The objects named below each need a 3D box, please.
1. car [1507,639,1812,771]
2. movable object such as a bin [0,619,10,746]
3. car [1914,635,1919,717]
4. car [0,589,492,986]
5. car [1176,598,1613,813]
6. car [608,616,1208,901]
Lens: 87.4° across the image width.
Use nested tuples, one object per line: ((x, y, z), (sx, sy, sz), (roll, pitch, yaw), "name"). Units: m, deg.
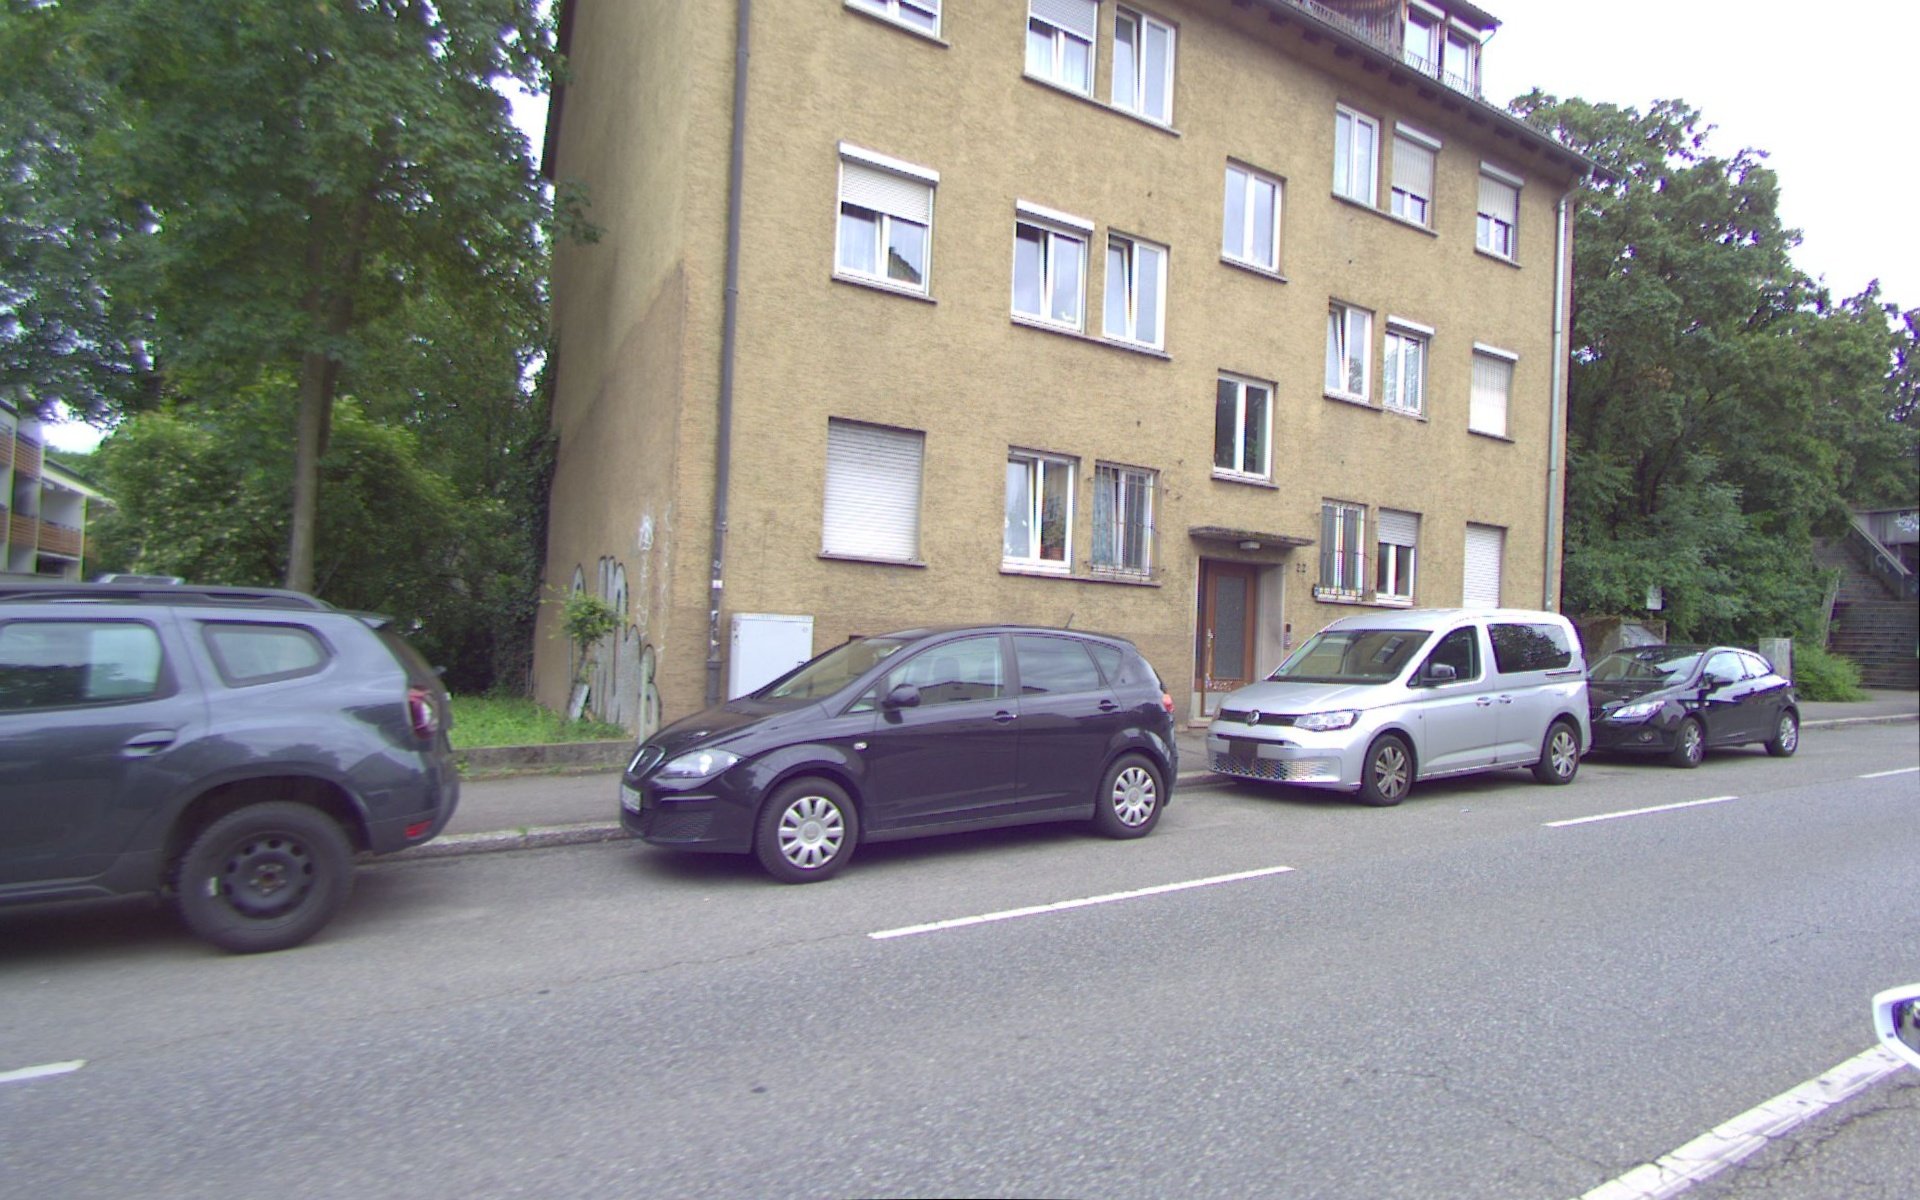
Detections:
((8.971, 1.232, 12.837), (3.867, 1.458, 1.737), (2, -3, -30), "car")
((-11.153, 0.937, 10.921), (0.903, 1.447, 1.385), (1, 0, -32), "movable object such as a bin")
((20.647, 1.484, 19.814), (3.865, 1.589, 1.736), (2, -3, -32), "car")
((-4.617, 0.806, 4.791), (4.212, 1.630, 1.776), (1, -3, -29), "car")
((4.492, 0.942, 10.211), (4.504, 1.777, 1.768), (1, -2, -30), "car")
((-0.275, 0.933, 7.318), (4.054, 1.550, 1.742), (1, -2, -32), "car")
